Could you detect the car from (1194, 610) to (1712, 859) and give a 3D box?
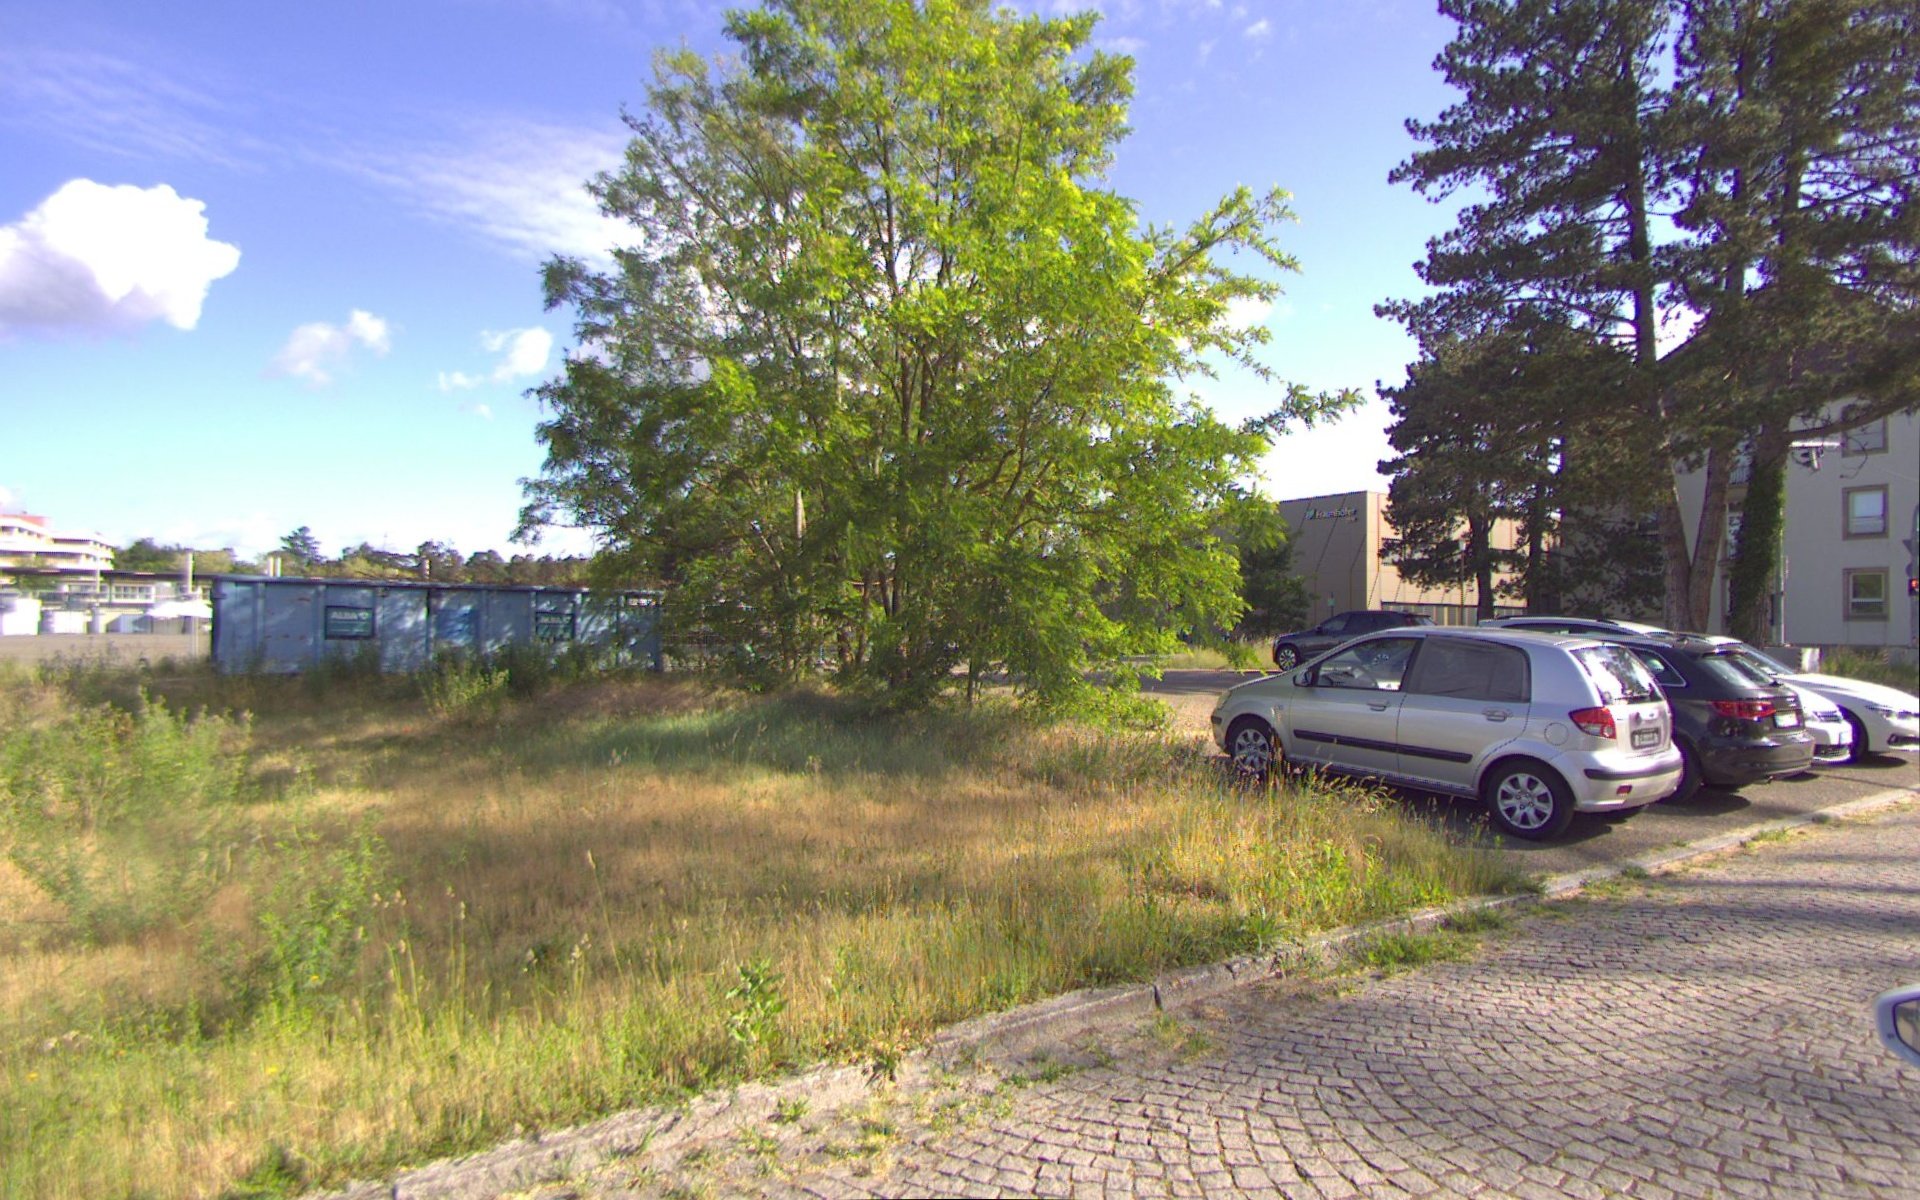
[{"bbox_3d":[4.017,0.930,8.711,1.683,1.548,3.660,1,1,-35],"label":"car"}]

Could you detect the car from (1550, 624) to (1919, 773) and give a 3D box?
[{"bbox_3d":[10.418,1.166,13.476,1.751,1.516,3.970,1,1,-28],"label":"car"}]

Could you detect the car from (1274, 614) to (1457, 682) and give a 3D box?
[{"bbox_3d":[10.602,1.212,26.543,1.987,1.630,4.122,1,-2,-32],"label":"car"}]

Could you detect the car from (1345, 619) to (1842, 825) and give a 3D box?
[{"bbox_3d":[6.168,1.035,10.233,1.673,1.464,3.912,1,2,-34],"label":"car"}]

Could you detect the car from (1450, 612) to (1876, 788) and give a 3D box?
[{"bbox_3d":[8.229,1.032,12.098,1.643,1.637,3.855,1,1,-34],"label":"car"}]
